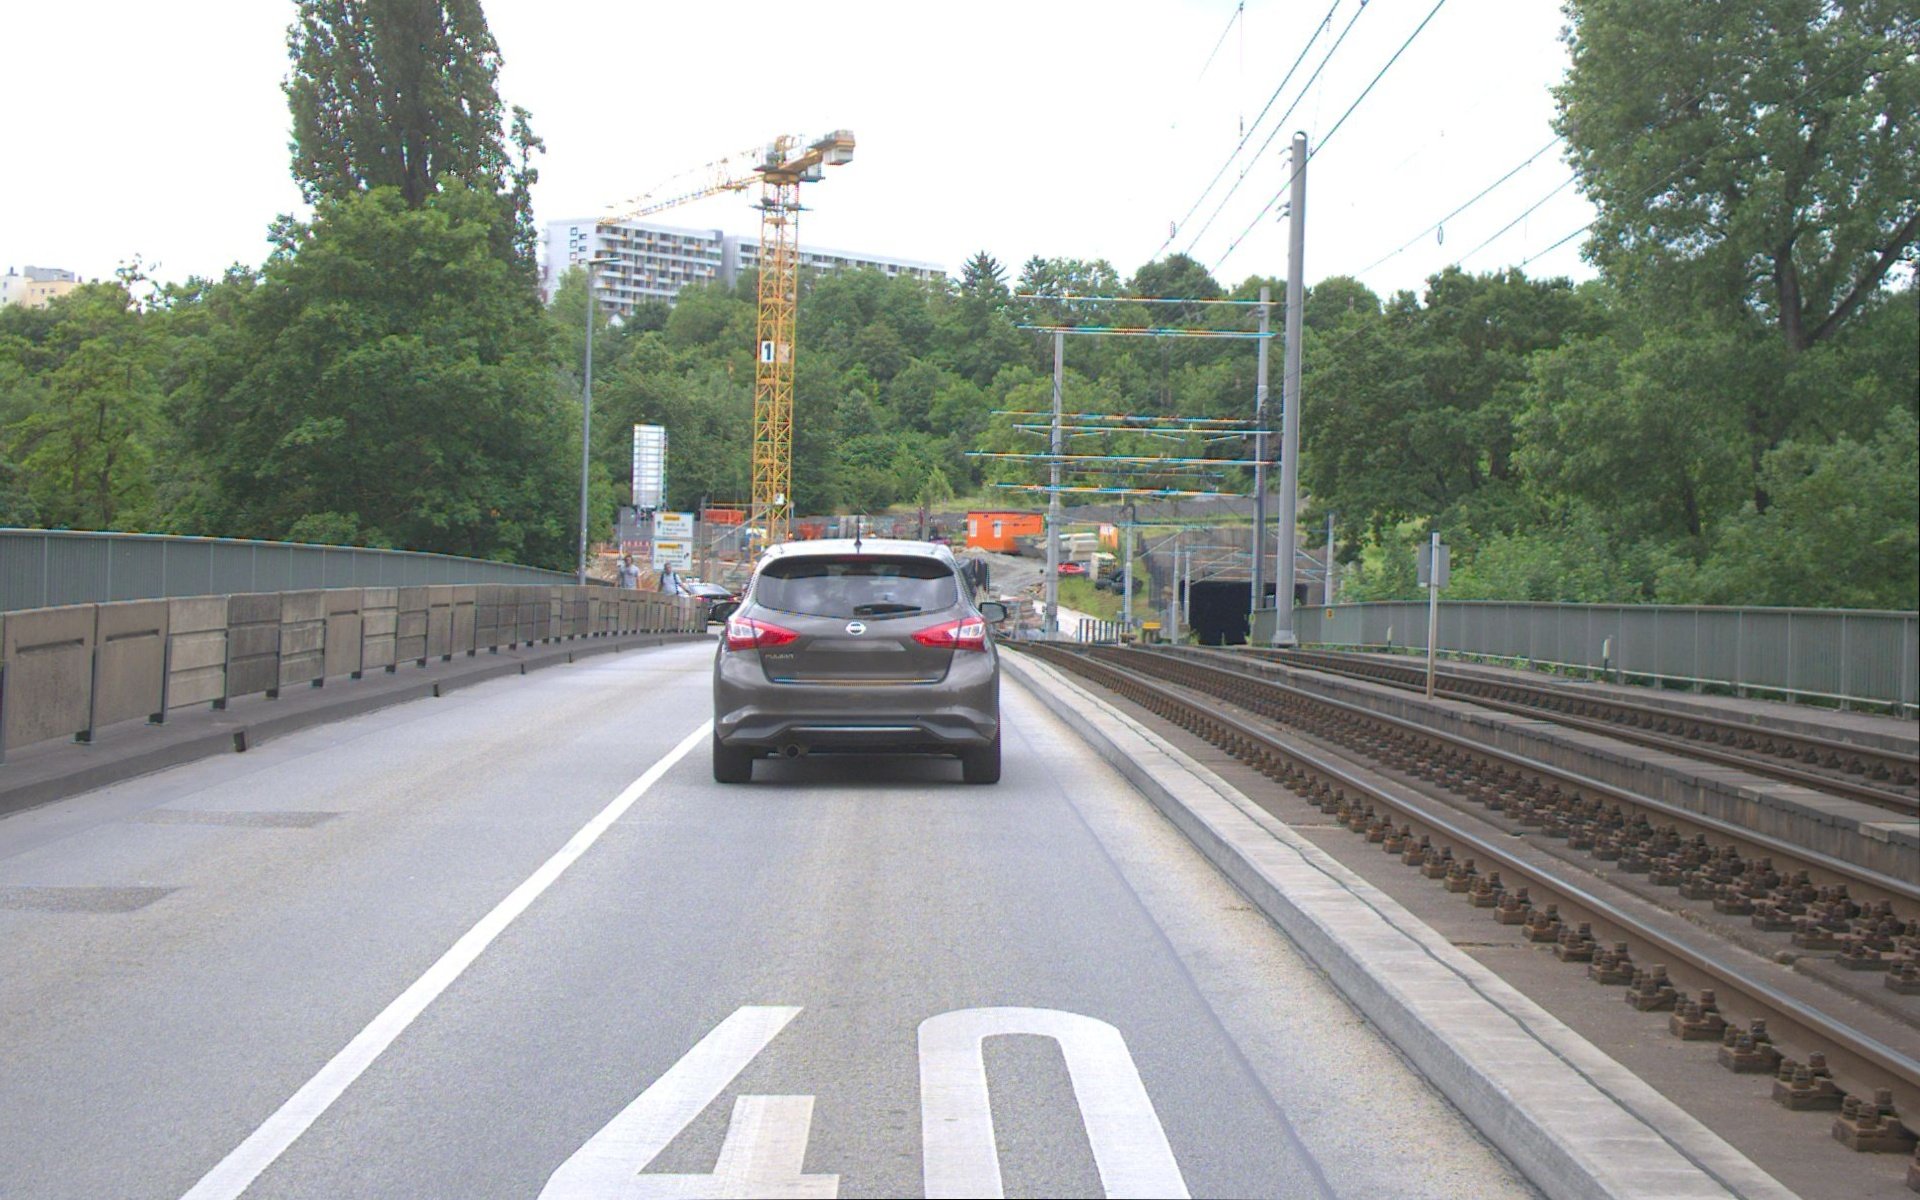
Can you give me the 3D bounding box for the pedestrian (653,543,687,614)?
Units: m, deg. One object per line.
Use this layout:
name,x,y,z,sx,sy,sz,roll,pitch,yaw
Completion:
pedestrian,-6.977,-0.508,82.777,0.721,1.695,0.723,1,0,-1

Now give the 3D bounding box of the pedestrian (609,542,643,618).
pedestrian,-8.128,-0.479,83.592,0.721,1.833,0.723,1,0,-1

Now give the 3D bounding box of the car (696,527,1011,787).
car,-0.779,0.354,22.315,1.829,1.505,4.000,1,-1,-4
